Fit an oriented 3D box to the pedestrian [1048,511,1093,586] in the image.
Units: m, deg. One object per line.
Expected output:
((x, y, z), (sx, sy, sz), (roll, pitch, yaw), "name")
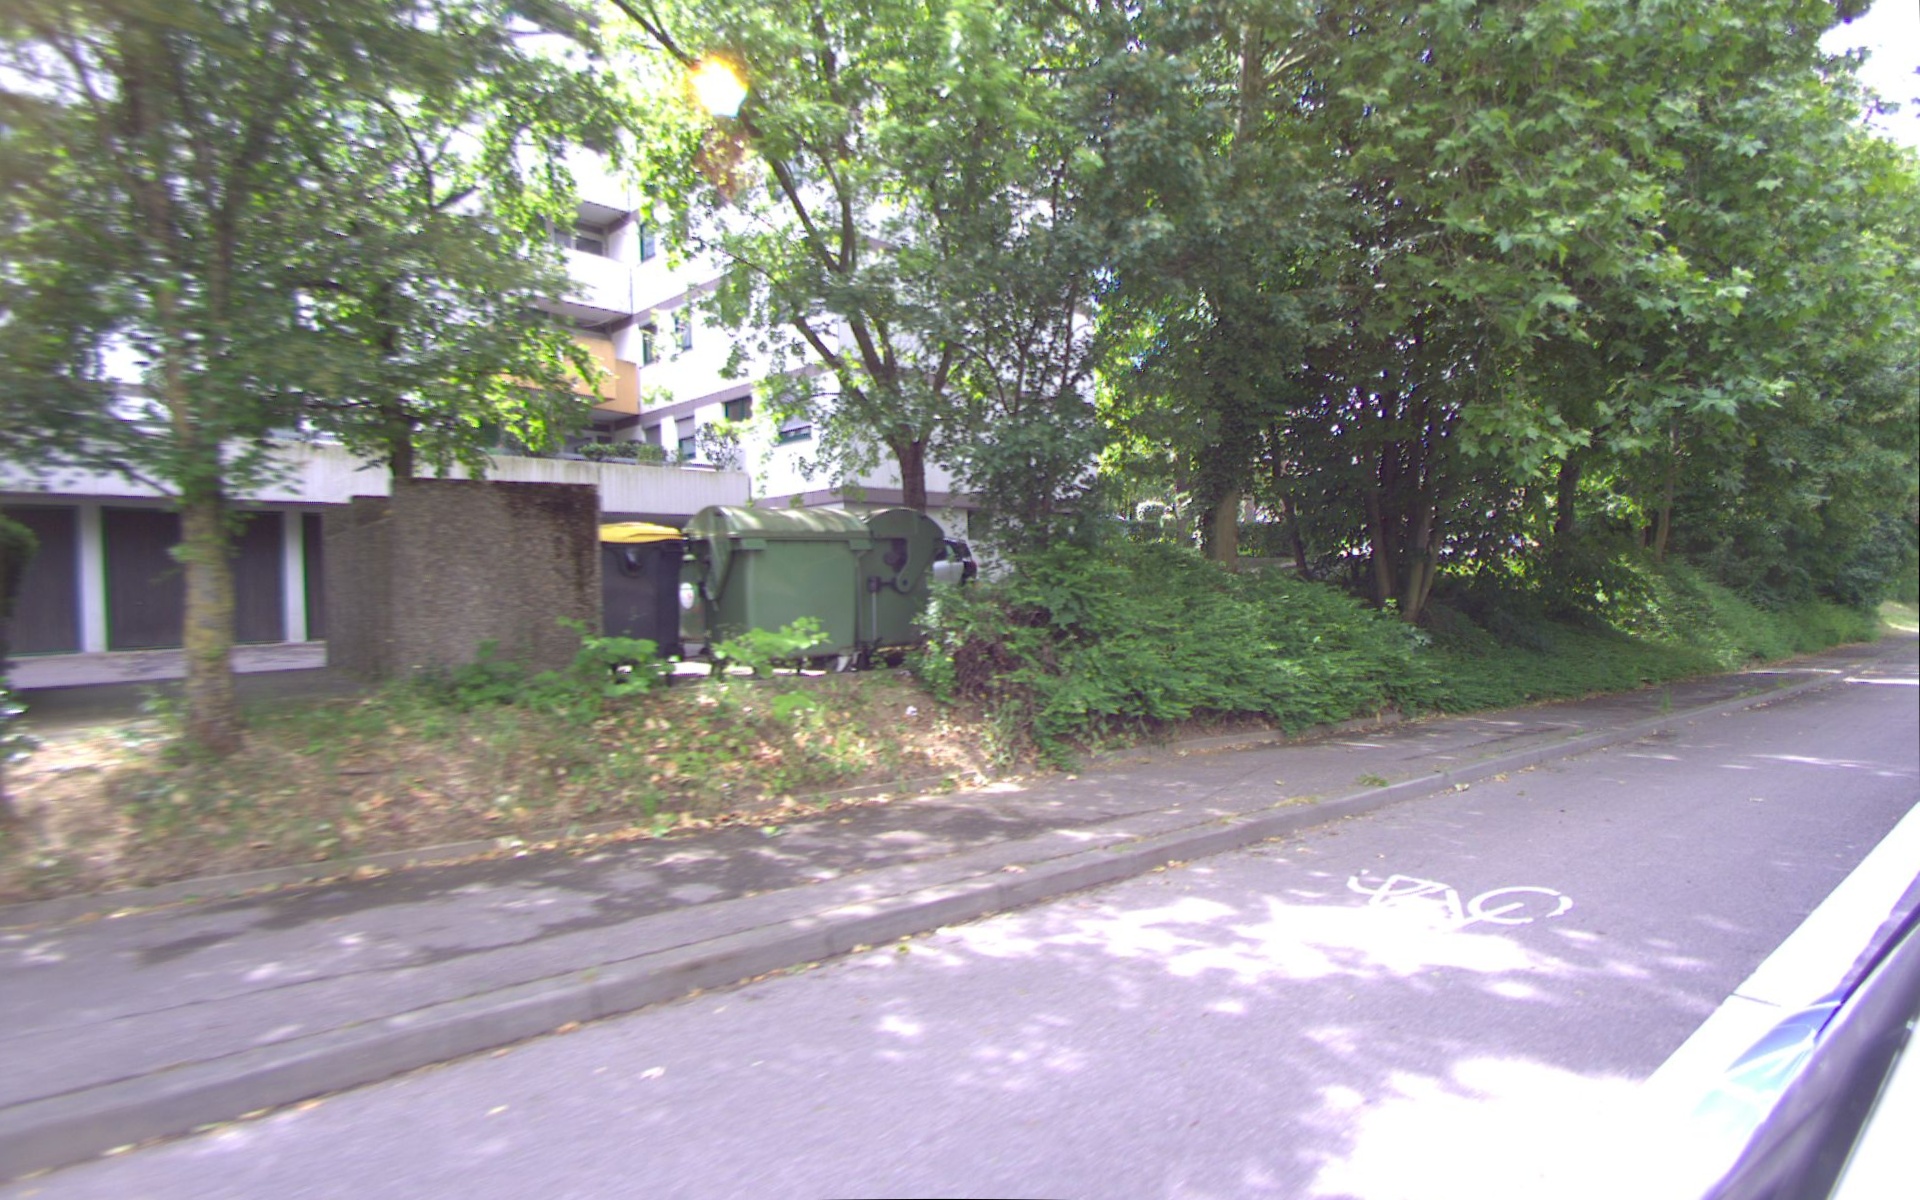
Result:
((2.505, -1.144, 22.954), (0.754, 1.653, 0.669), (0, 0, -41), "pedestrian")

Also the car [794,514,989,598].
((-1.291, -0.795, 19.732), (3.485, 1.478, 1.661), (0, 1, -40), "car")

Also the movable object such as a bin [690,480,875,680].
((-1.446, -0.151, 8.314), (1.280, 1.497, 0.799), (0, 0, -41), "movable object such as a bin")
